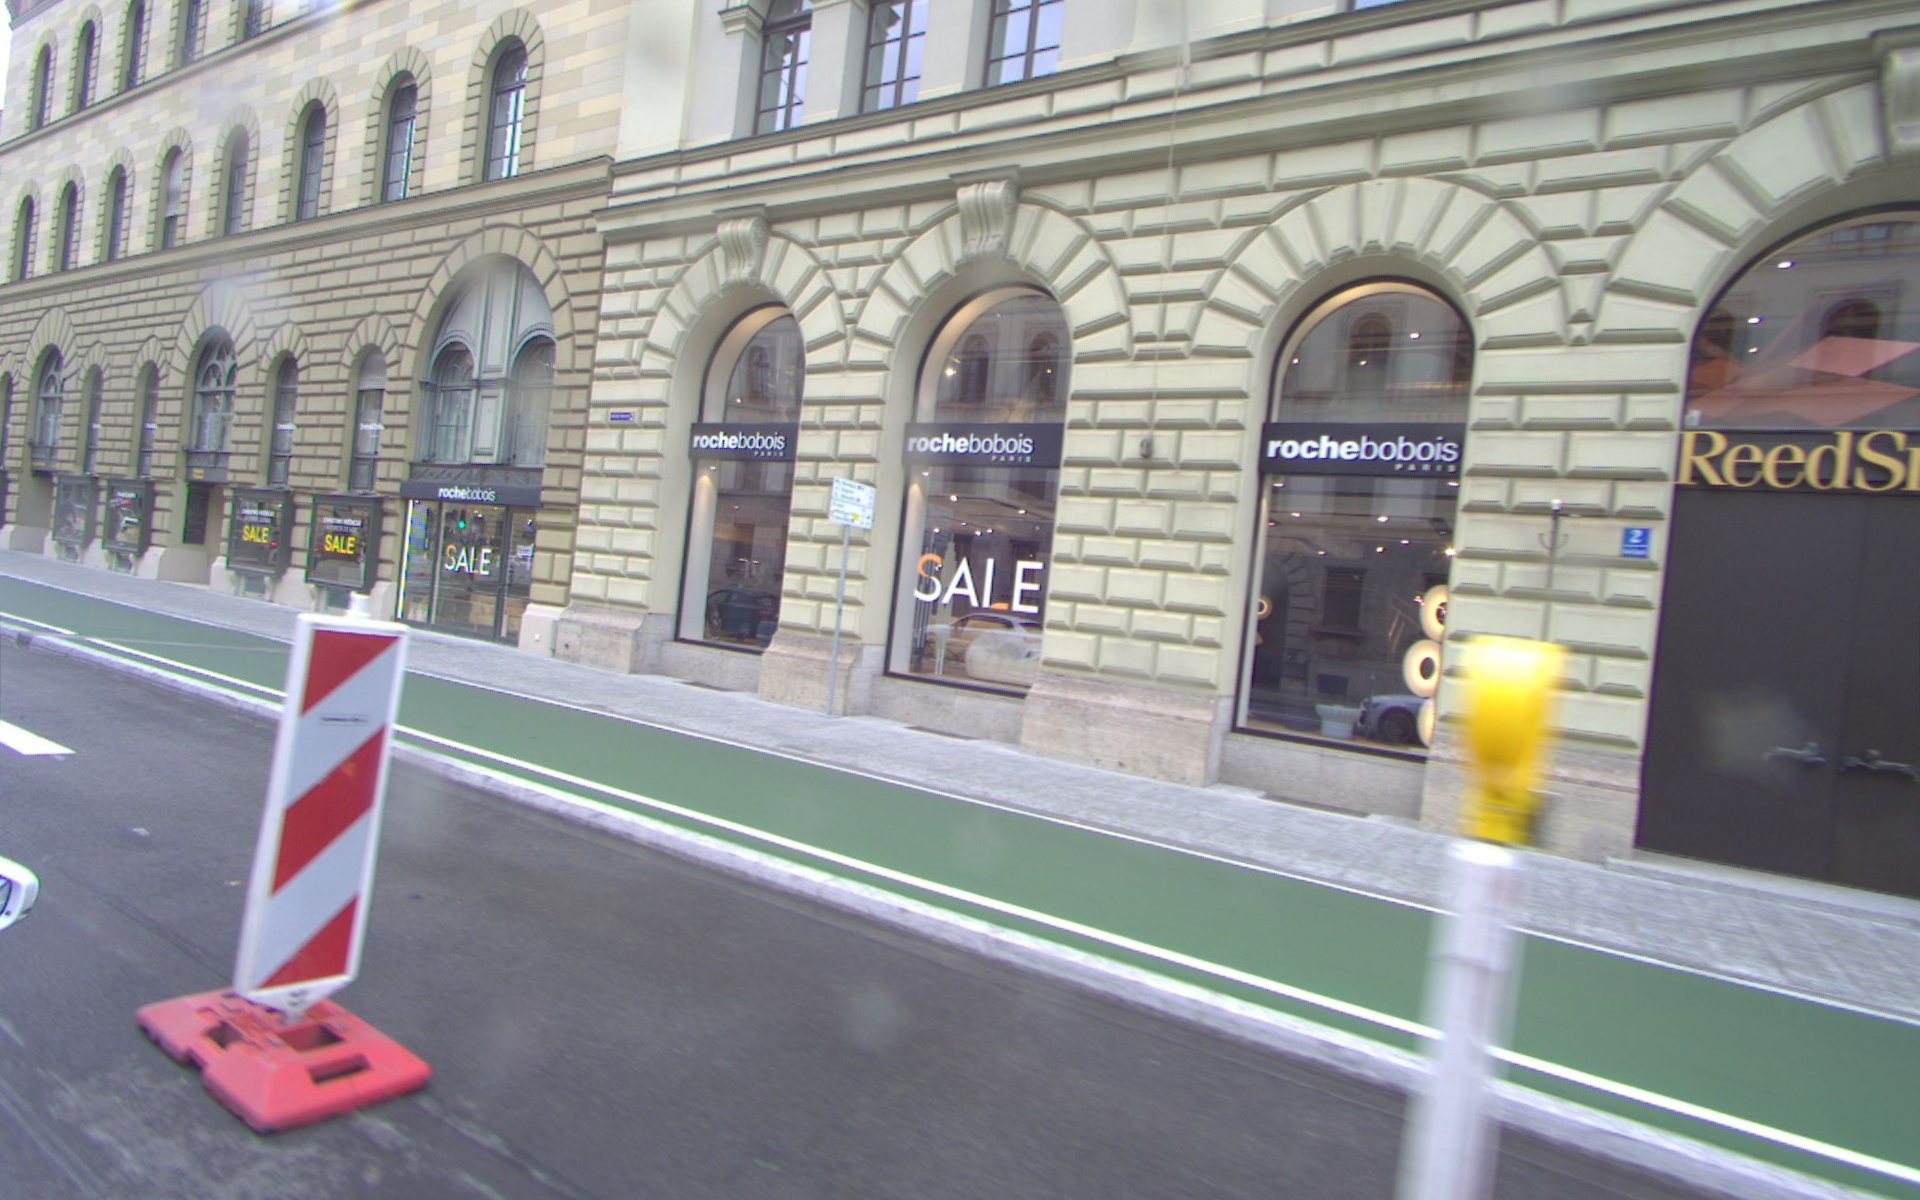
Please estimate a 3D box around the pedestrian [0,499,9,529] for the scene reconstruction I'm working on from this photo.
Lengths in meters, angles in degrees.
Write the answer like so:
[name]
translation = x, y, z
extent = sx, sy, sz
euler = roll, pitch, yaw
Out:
[pedestrian]
translation = -55.910, -5.042, 58.416
extent = 0.807, 1.714, 0.716
euler = 7, -1, 33
